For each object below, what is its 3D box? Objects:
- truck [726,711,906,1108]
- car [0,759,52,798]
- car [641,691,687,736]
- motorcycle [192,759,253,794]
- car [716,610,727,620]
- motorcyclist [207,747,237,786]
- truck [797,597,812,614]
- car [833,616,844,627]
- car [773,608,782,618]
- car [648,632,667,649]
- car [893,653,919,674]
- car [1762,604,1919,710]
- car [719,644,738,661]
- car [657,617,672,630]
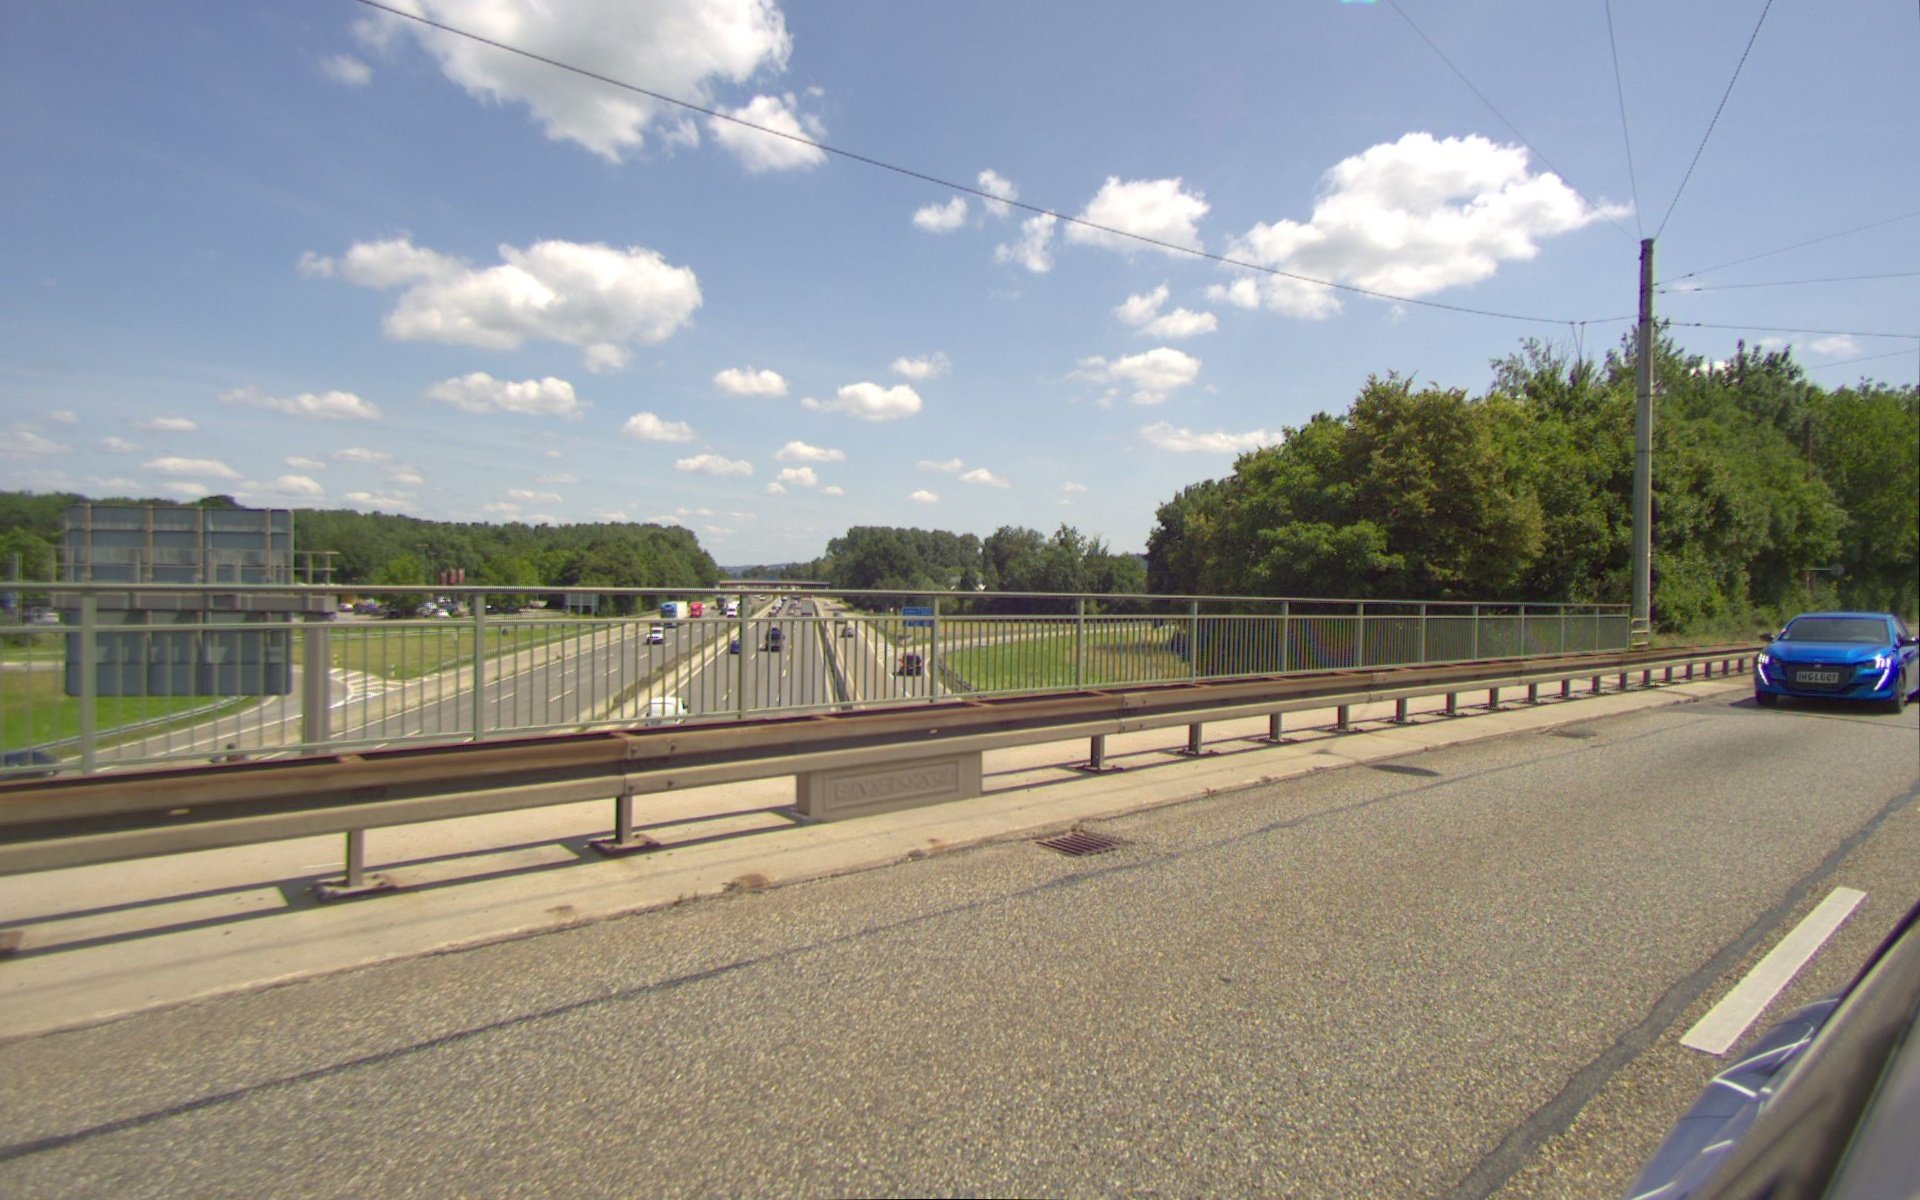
[{"bbox_3d":[-3.472,5.796,23.747,2.774,4.271,14.814,-2,2,-9],"label":"truck"},{"bbox_3d":[-36.846,6.887,38.495,1.633,1.187,3.919,-2,-3,-11],"label":"car"},{"bbox_3d":[-15.705,6.005,53.920,1.781,1.883,4.006,4,0,-9],"label":"car"},{"bbox_3d":[-28.334,6.774,38.939,0.840,1.002,2.475,-2,-3,-9],"label":"motorcycle"},{"bbox_3d":[-53.532,3.289,227.112,1.921,1.951,4.003,-2,-3,-9],"label":"car"},{"bbox_3d":[-28.256,6.380,38.767,0.591,1.362,0.912,-2,-3,-9],"label":"motorcyclist"},{"bbox_3d":[-33.763,1.216,219.791,3.300,3.483,6.963,0,0,-8],"label":"truck"},{"bbox_3d":[-23.443,4.167,195.208,1.921,1.951,4.003,-2,-3,-9],"label":"car"},{"bbox_3d":[-43.870,3.138,242.906,1.921,1.951,4.003,-2,-3,-9],"label":"car"},{"bbox_3d":[-37.320,5.027,124.755,1.597,1.951,4.003,-2,-3,-8],"label":"car"},{"bbox_3d":[-4.943,5.748,91.855,1.964,1.817,4.003,-2,-3,-8],"label":"car"},{"bbox_3d":[14.101,0.805,15.954,3.679,1.423,1.658,-1,0,-41],"label":"car"},{"bbox_3d":[-25.336,5.770,110.924,1.789,1.817,4.004,-2,-3,-11],"label":"car"},{"bbox_3d":[-48.911,3.857,167.591,1.921,1.951,4.003,-2,-3,-9],"label":"car"}]
